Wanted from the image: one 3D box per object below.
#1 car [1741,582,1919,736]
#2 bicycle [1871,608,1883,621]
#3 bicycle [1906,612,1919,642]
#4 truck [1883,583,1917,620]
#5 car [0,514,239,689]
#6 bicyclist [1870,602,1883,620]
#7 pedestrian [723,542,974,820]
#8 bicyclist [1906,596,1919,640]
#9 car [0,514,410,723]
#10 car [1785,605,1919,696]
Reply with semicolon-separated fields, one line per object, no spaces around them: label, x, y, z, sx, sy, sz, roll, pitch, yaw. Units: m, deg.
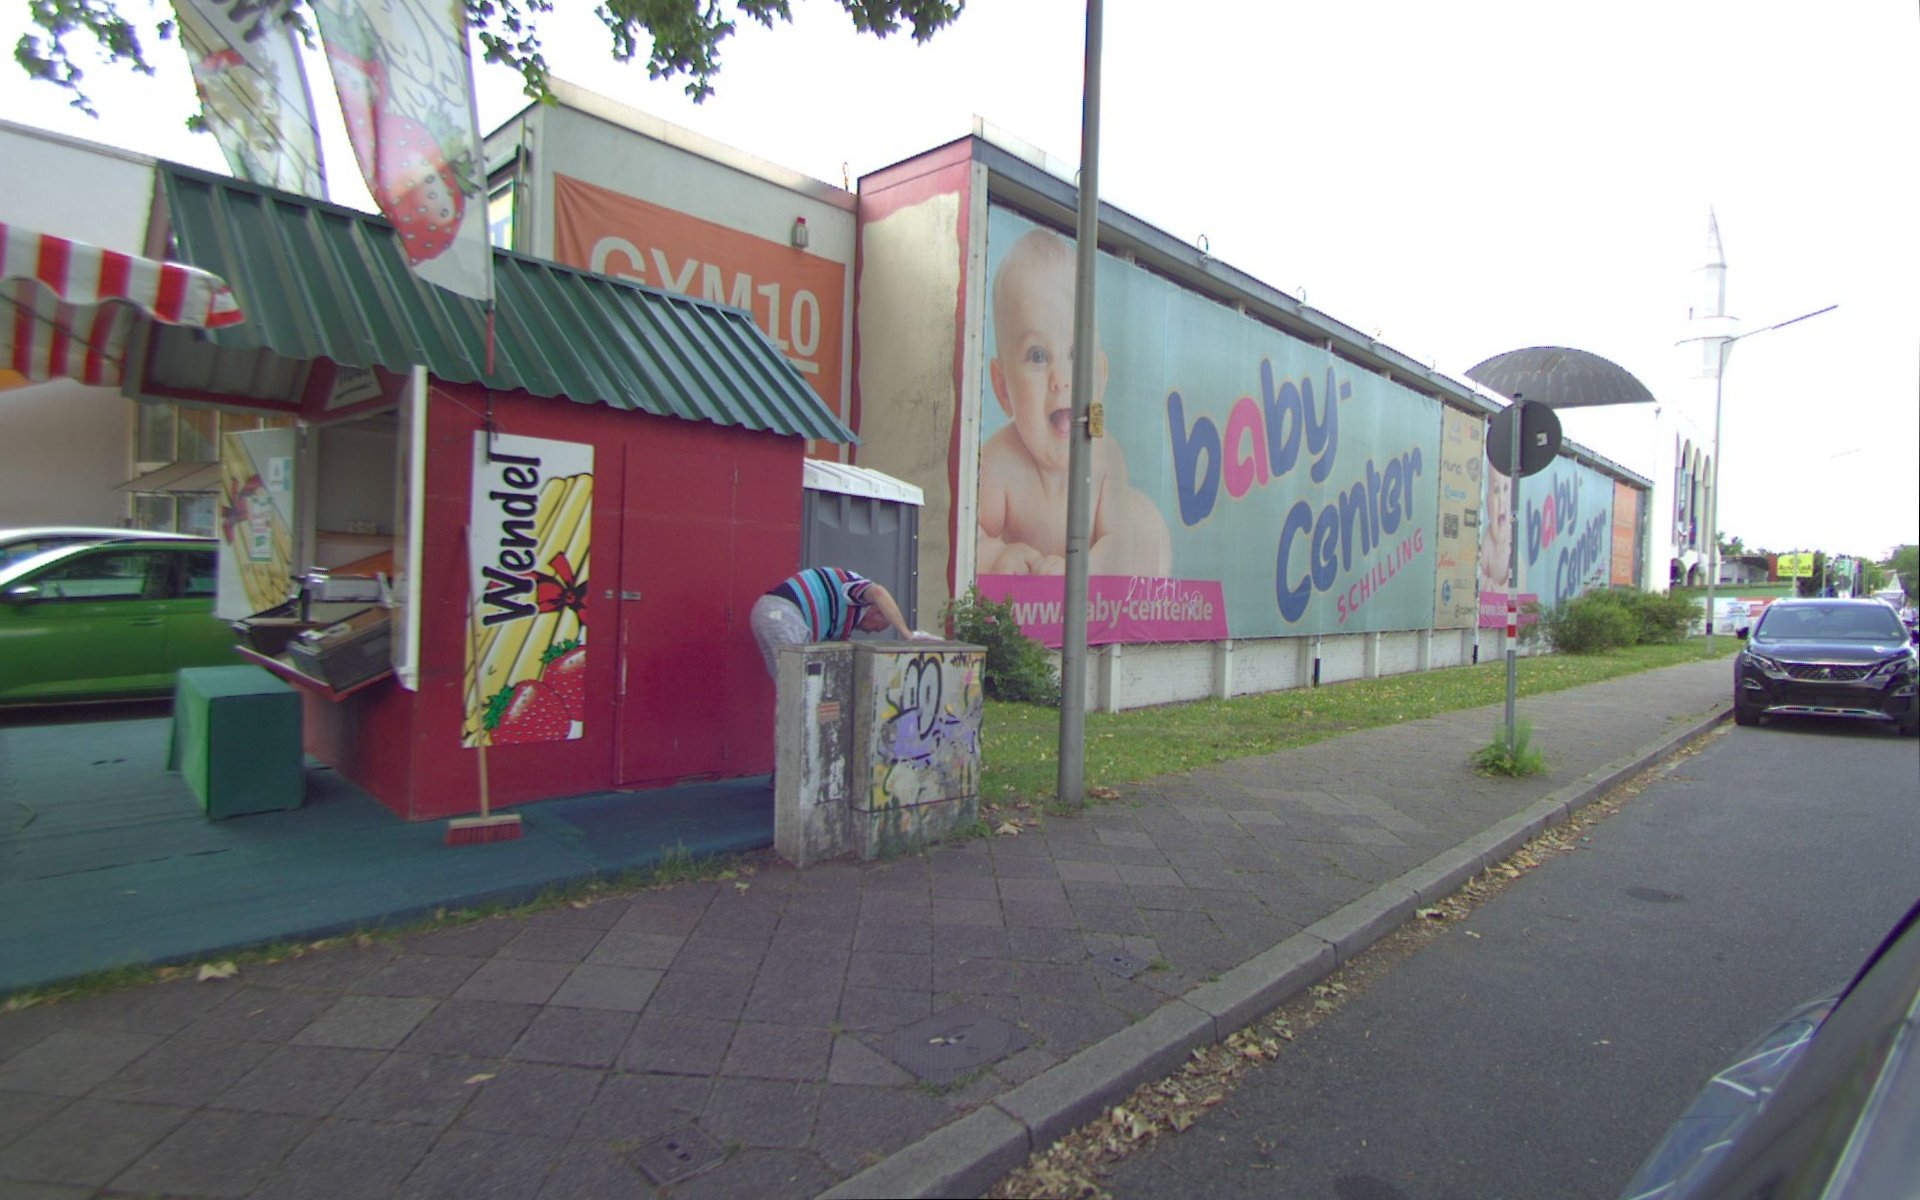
car;11.627;0.665;13.298;1.807;1.686;4.569;0;-1;42
bicycle;100.570;1.585;111.022;1.852;1.310;0.793;0;6;-45
bicycle;40.197;1.134;42.387;0.798;1.195;2.586;1;0;43
truck;109.433;0.178;117.749;2.778;4.169;8.148;-1;-1;43
car;-9.483;-0.019;9.645;1.737;1.588;3.943;3;2;39
bicyclist;100.552;1.232;111.051;0.815;1.933;0.796;1;5;-44
pedestrian;-0.624;0.369;5.515;0.947;1.330;1.016;1;1;-38
bicyclist;40.251;0.760;42.449;0.806;1.815;1.188;0;0;43
car;-7.085;0.108;8.579;3.934;1.531;1.741;0;2;-45
car;16.055;0.805;17.920;1.808;1.408;4.513;0;-1;45
